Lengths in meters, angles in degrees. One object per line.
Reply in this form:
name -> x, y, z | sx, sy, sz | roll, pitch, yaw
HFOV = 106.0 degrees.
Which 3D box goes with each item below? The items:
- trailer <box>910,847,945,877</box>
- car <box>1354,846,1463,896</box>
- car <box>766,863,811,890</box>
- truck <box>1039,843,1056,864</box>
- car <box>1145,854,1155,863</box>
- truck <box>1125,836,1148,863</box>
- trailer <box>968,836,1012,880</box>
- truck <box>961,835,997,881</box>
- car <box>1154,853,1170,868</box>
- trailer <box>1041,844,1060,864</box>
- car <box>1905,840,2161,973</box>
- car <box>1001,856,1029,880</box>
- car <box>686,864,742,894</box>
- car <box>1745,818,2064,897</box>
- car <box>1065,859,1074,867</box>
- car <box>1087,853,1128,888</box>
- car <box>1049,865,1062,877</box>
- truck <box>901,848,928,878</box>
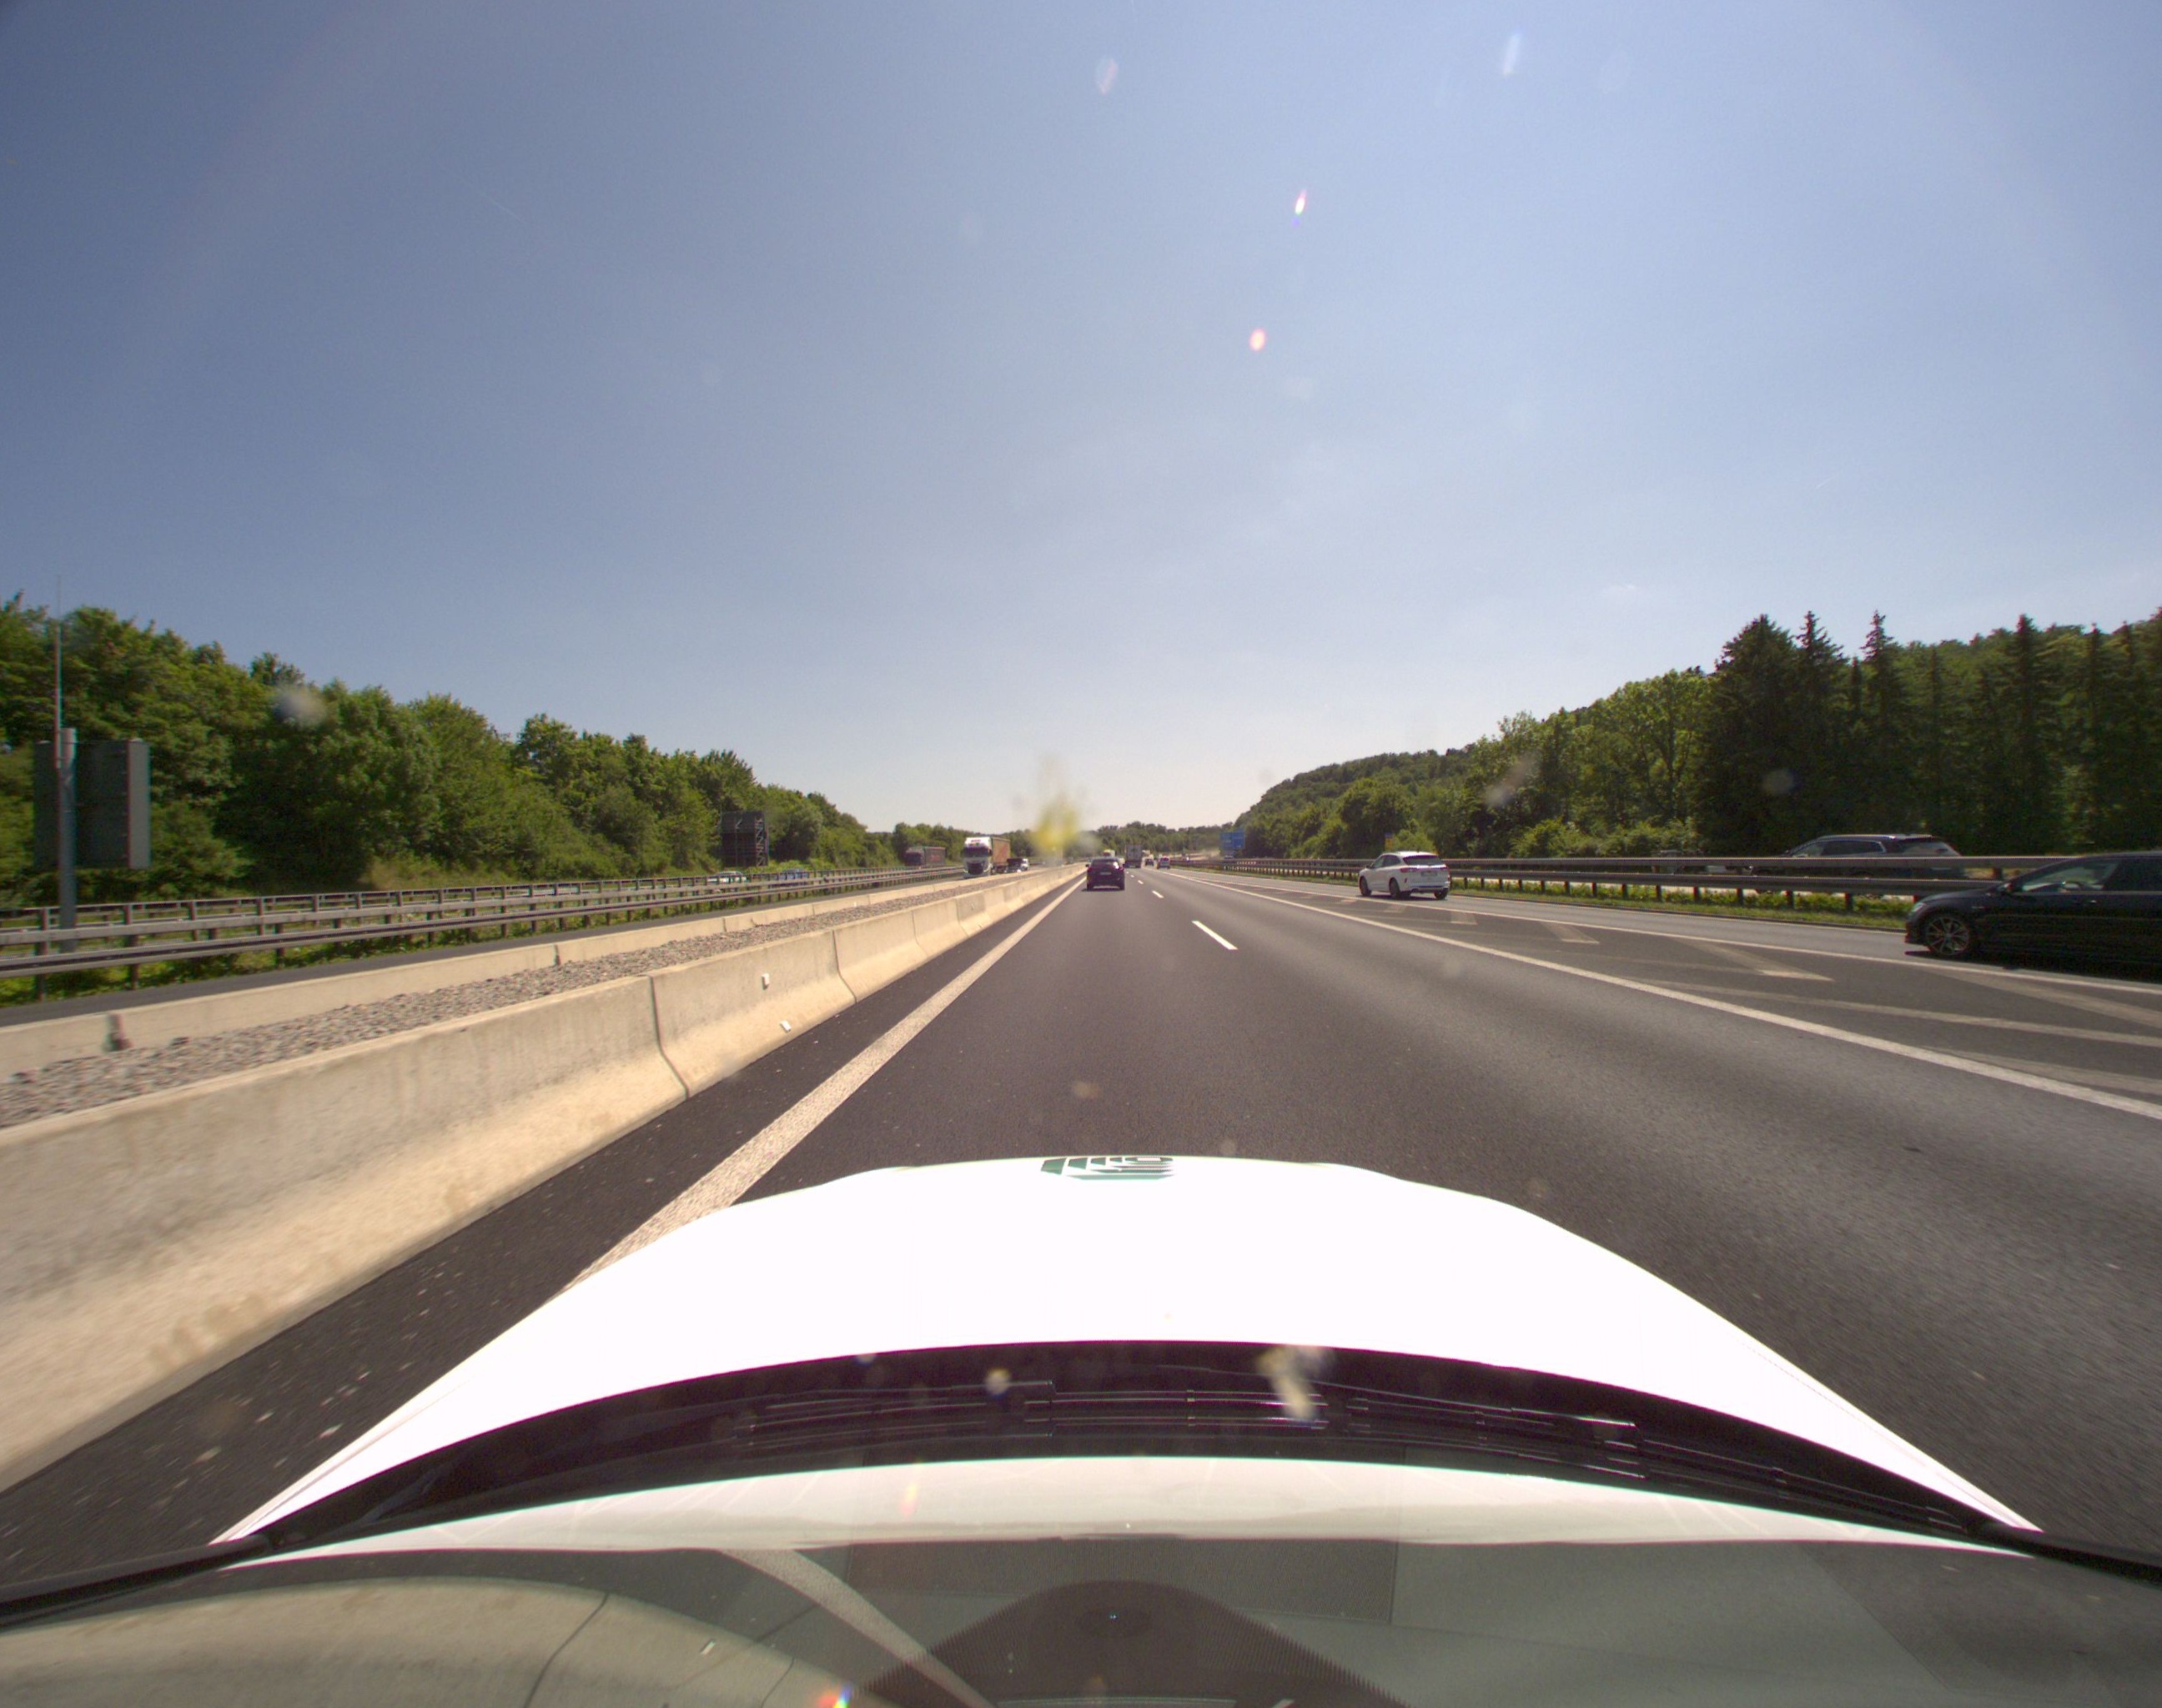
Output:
trailer -> -23.547, 1.274, 125.596 | 2.783, 4.434, 11.660 | 0, -1, 3
car -> 11.647, 0.584, 29.302 | 1.988, 1.662, 4.464 | 0, -1, -2
car -> -21.910, 1.658, 61.239 | 1.988, 2.014, 3.998 | 0, -1, -1
truck -> -6.436, -0.017, 157.421 | 2.917, 3.973, 5.900 | 0, -1, 2
car -> 15.072, 1.001, 177.247 | 1.986, 2.014, 4.002 | 0, -1, 2
truck -> 9.408, -0.627, 137.270 | 3.015, 4.418, 12.043 | 0, -1, 8
trailer -> -9.522, 0.507, 86.506 | 2.657, 4.273, 13.820 | 0, -1, 2
truck -> -9.791, 0.426, 78.579 | 2.695, 4.288, 4.556 | 0, -1, 2
car -> 12.011, 0.936, 121.092 | 1.985, 2.013, 4.003 | -3, 0, 3
trailer -> -6.104, 0.051, 165.927 | 2.898, 4.045, 12.069 | 0, -1, 2
car -> 12.526, 0.570, 9.469 | 1.790, 1.435, 3.962 | 0, -1, -3
car -> -5.960, 1.219, 74.363 | 1.911, 2.013, 5.348 | -2, 0, 2
car -> -25.738, 1.734, 57.210 | 1.986, 2.014, 4.002 | 0, -1, 2
car -> 19.798, 0.098, 20.114 | 1.990, 1.662, 5.618 | 0, -1, -4
car -> -2.831, 2.251, 197.474 | 1.986, 2.014, 4.487 | 0, -1, 2
car -> 1.239, 0.785, 39.940 | 1.774, 1.577, 3.998 | 2, -1, -1
car -> -4.090, 2.775, 132.185 | 1.977, 1.826, 4.826 | 0, -1, 0
truck -> -23.965, 1.255, 117.307 | 2.799, 4.272, 5.000 | 0, -1, 2
